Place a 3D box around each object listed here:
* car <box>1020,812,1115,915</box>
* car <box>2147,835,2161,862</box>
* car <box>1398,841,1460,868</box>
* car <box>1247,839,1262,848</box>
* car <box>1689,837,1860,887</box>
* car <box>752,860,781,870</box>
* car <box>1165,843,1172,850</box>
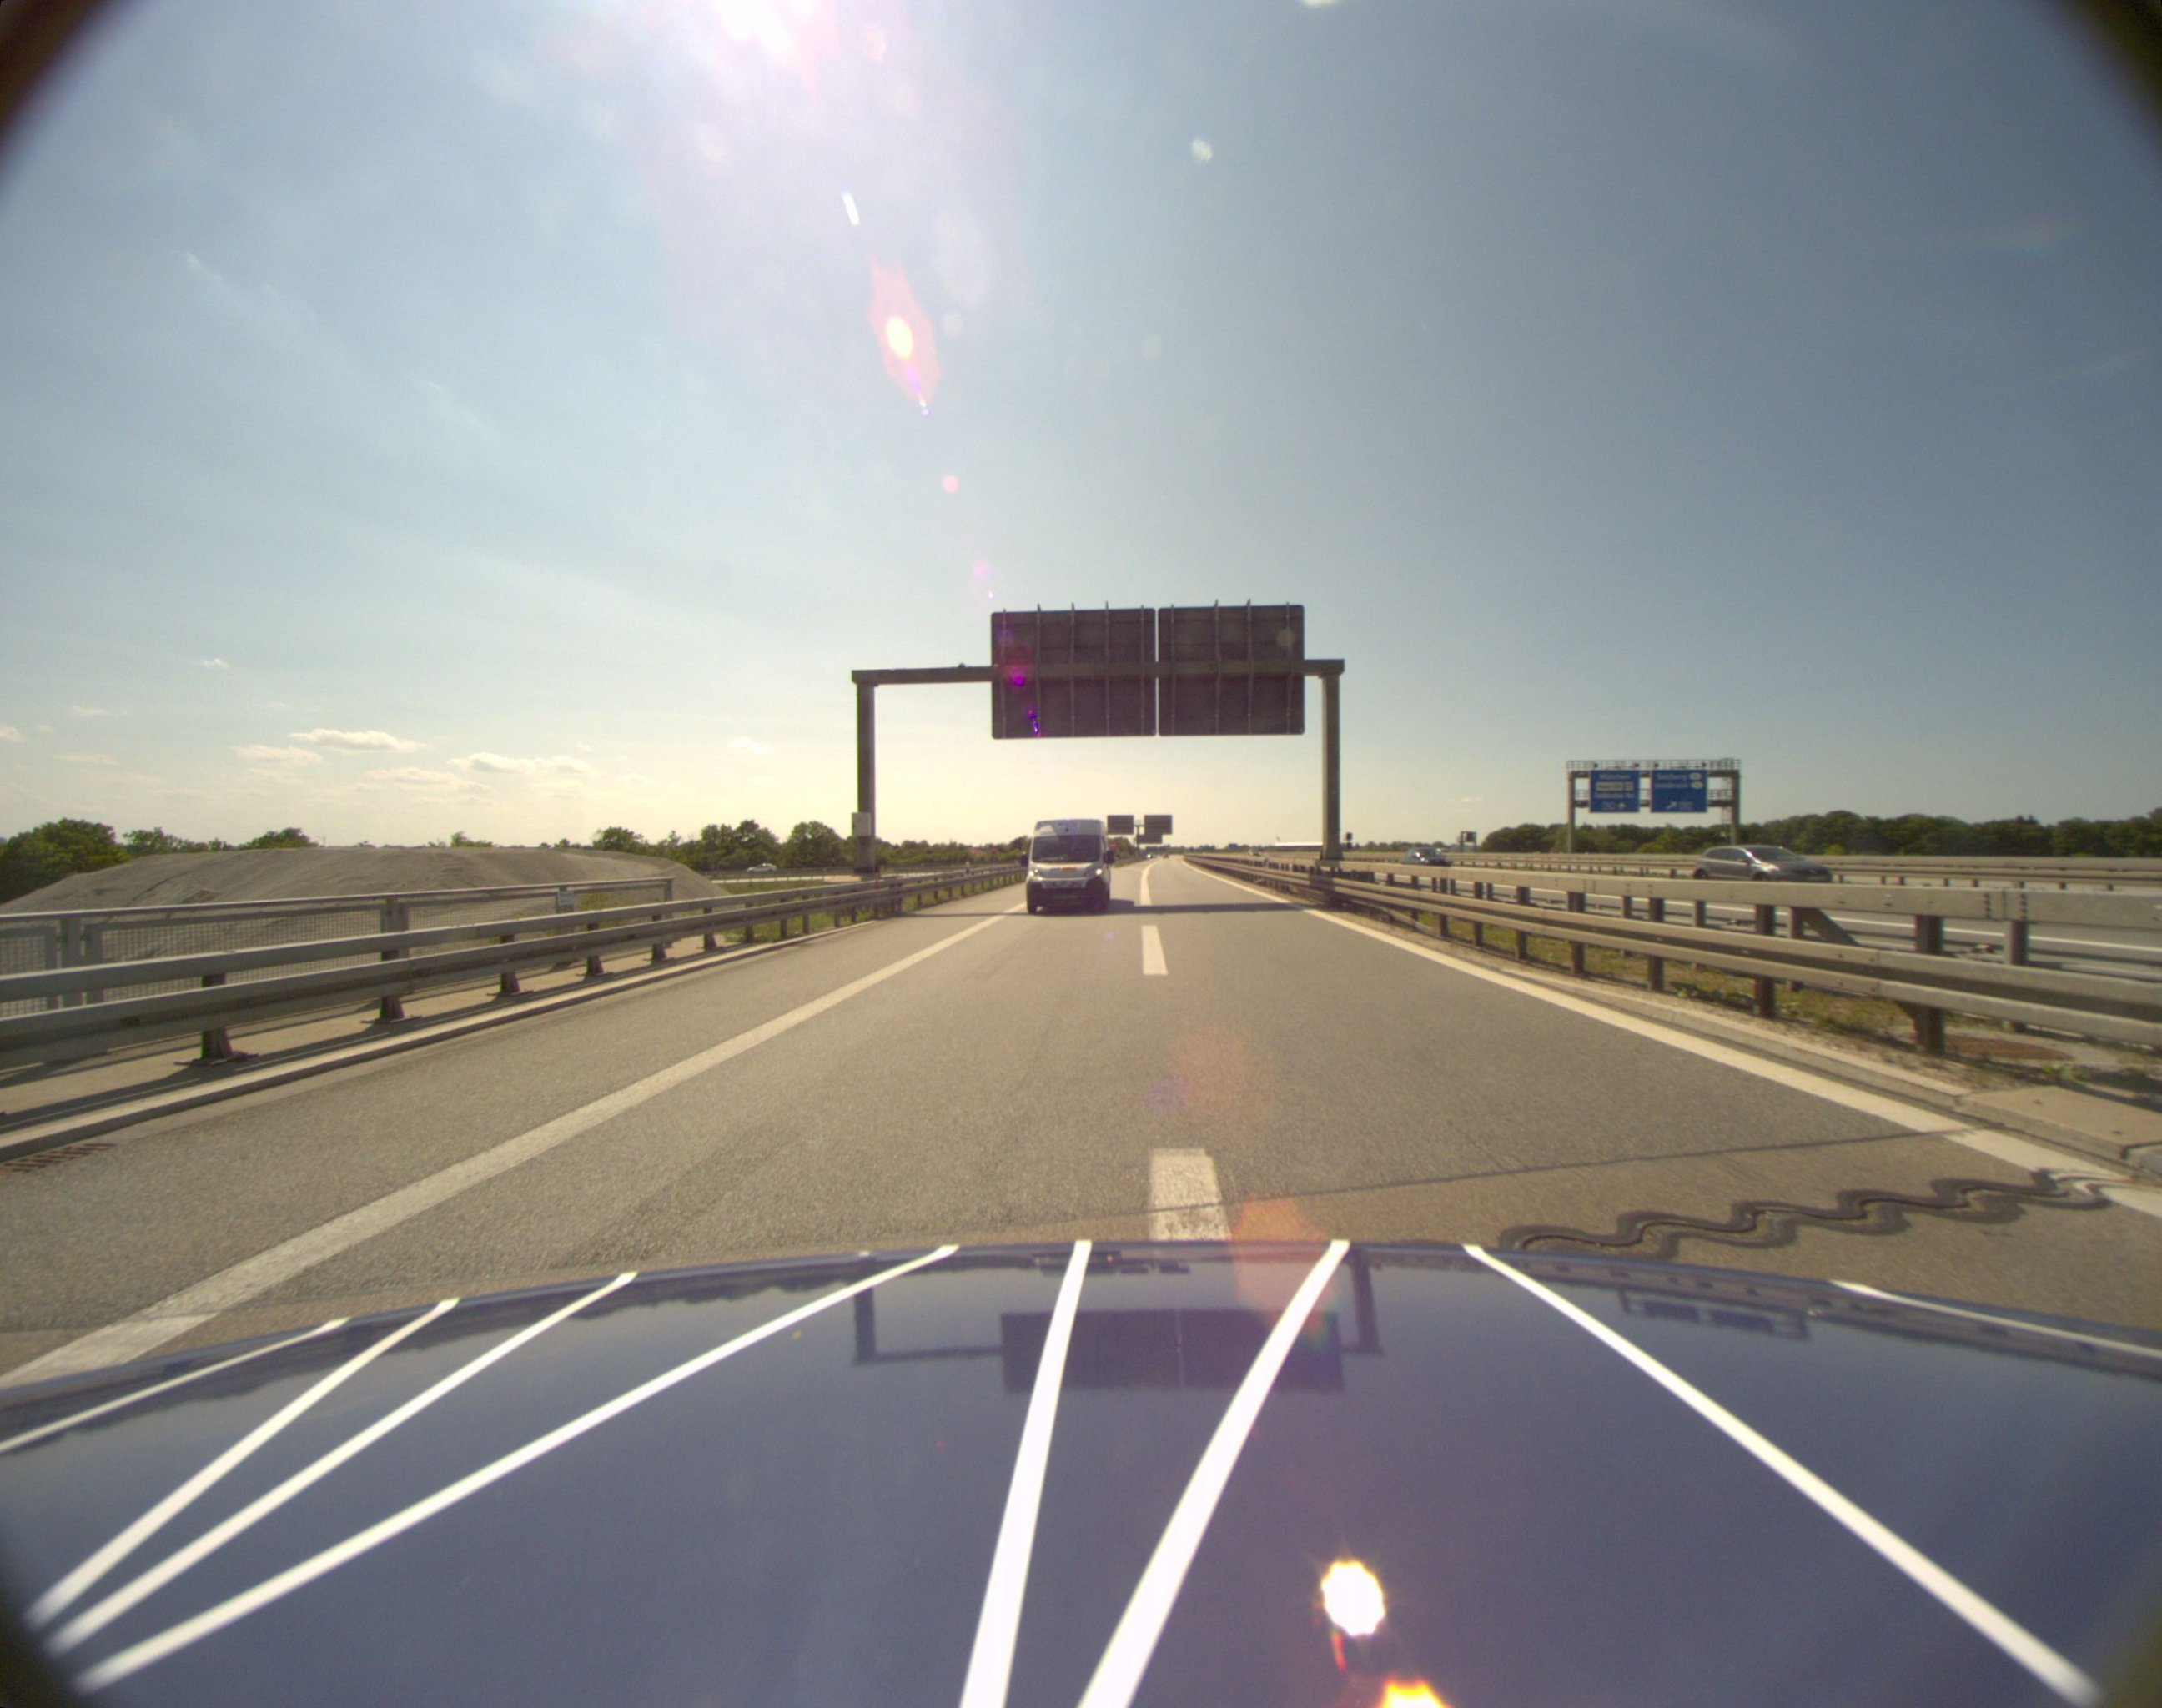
[{"bbox_3d":[-0.202,0.232,21.702,2.086,2.509,6.239,-1,0,4],"label":"car"},{"bbox_3d":[54.584,-0.214,36.660,1.581,1.347,3.343,0,3,3],"label":"car"},{"bbox_3d":[19.719,-0.004,43.254,1.833,1.424,4.218,-1,1,4],"label":"car"},{"bbox_3d":[29.808,-1.867,130.581,1.842,1.509,4.576,-1,1,4],"label":"car"},{"bbox_3d":[21.528,0.204,23.862,1.766,1.414,4.217,-1,1,4],"label":"car"},{"bbox_3d":[-54.231,1.874,131.233,4.300,1.499,1.998,-3,1,-13],"label":"car"},{"bbox_3d":[23.634,-1.961,205.065,1.997,1.744,4.001,-1,1,6],"label":"car"}]
